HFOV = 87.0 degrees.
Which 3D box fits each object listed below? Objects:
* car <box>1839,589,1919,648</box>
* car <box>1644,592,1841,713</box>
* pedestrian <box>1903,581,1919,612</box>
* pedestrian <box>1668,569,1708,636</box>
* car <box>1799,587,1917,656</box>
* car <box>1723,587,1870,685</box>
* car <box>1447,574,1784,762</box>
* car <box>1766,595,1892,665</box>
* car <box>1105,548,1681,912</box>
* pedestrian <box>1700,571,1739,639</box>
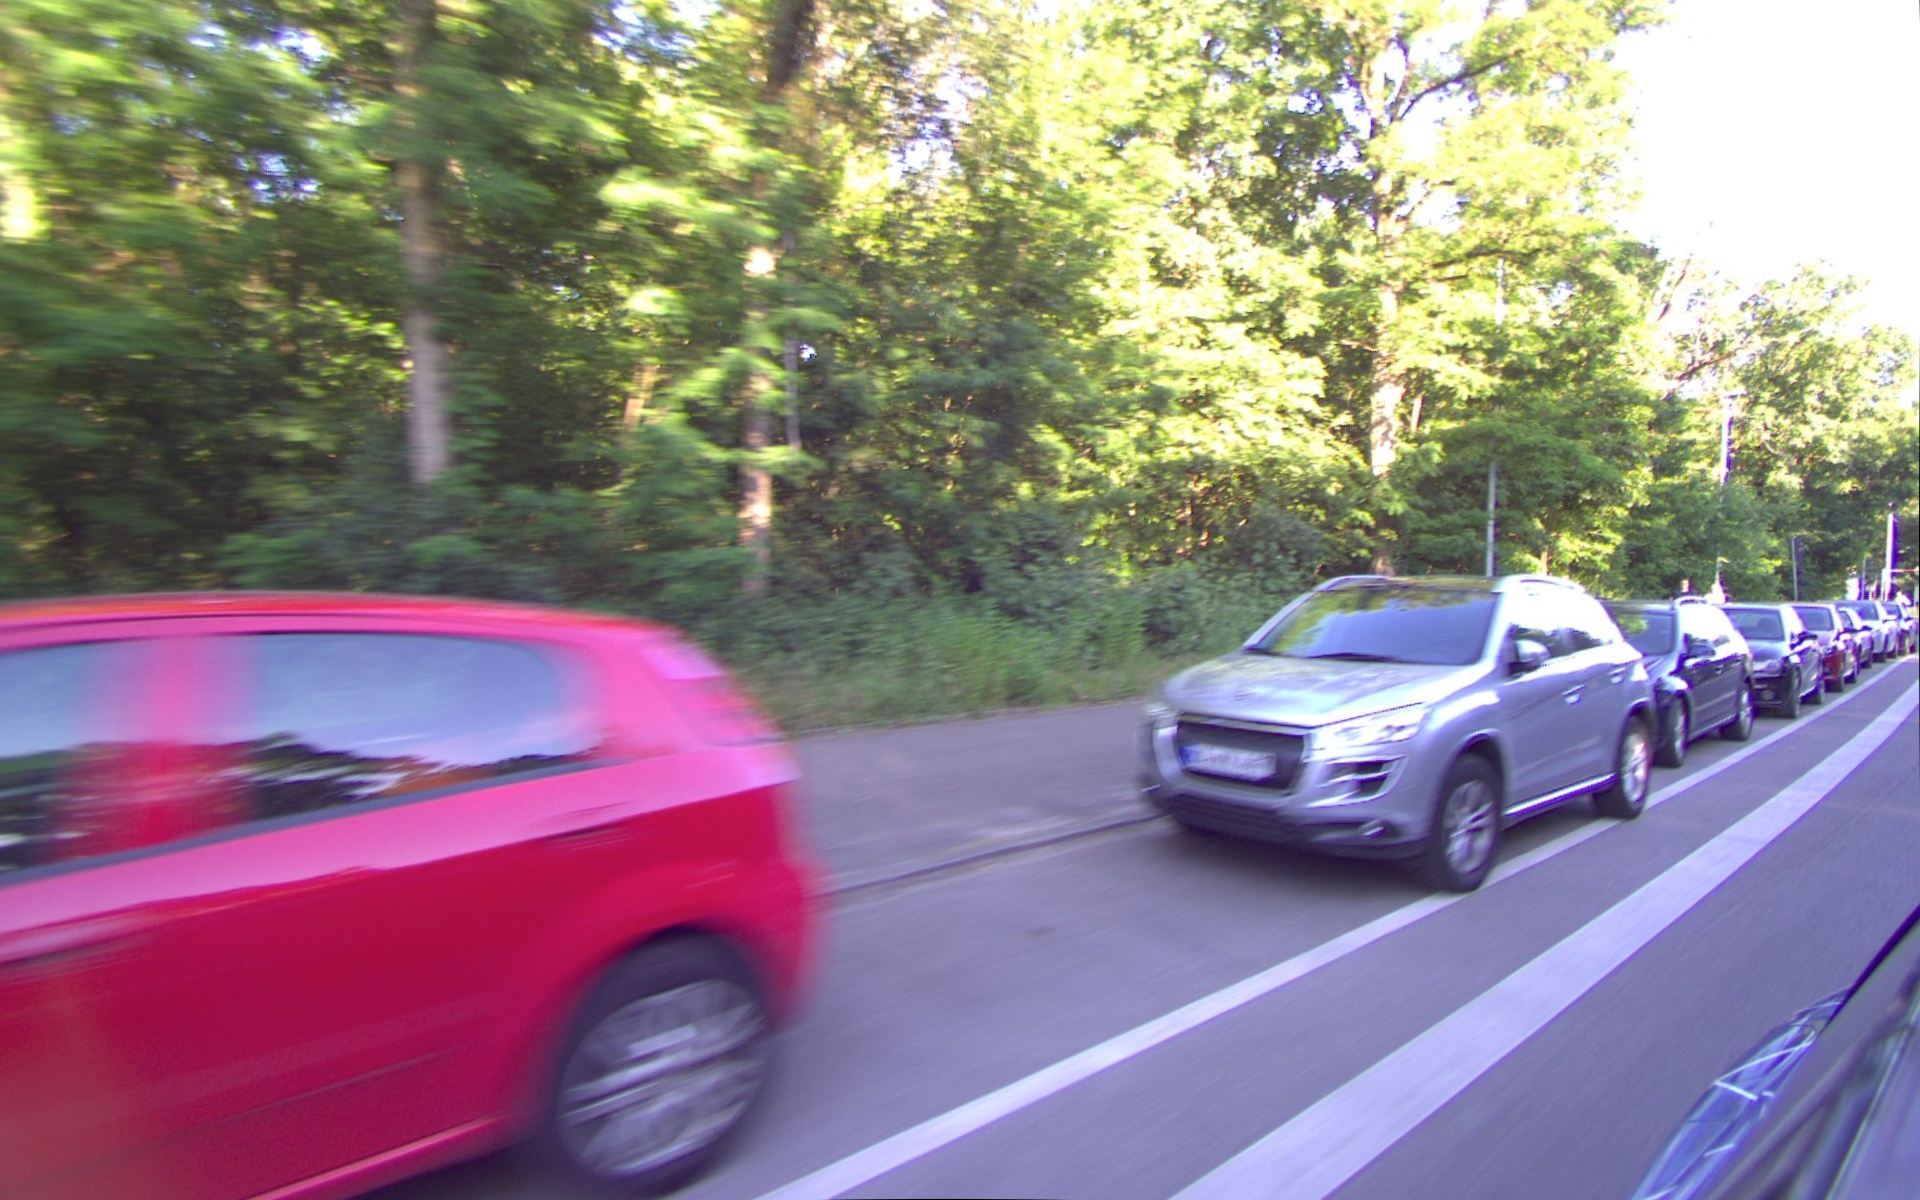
[{"bbox_3d":[25.750,0.461,28.071,3.952,1.470,1.659,0,2,-43],"label":"car"},{"bbox_3d":[10.760,0.602,13.824,3.735,1.419,1.596,-1,1,-44],"label":"car"},{"bbox_3d":[56.904,-0.216,60.384,0.721,1.821,0.808,0,1,-40],"label":"pedestrian"},{"bbox_3d":[20.459,0.052,28.452,0.938,1.820,0.675,0,3,-45],"label":"pedestrian"},{"bbox_3d":[22.371,0.471,25.153,4.285,1.543,1.739,0,2,-43],"label":"car"},{"bbox_3d":[14.394,0.536,17.345,1.617,1.487,3.664,-1,0,45],"label":"car"},{"bbox_3d":[6.891,0.552,10.441,4.426,1.538,1.810,0,0,-42],"label":"car"},{"bbox_3d":[18.543,0.571,21.554,3.776,1.336,1.630,0,1,-43],"label":"car"},{"bbox_3d":[2.929,0.534,6.460,3.958,1.615,1.802,0,2,-41],"label":"car"},{"bbox_3d":[21.092,0.133,28.093,0.777,1.820,0.675,0,3,-45],"label":"pedestrian"}]
